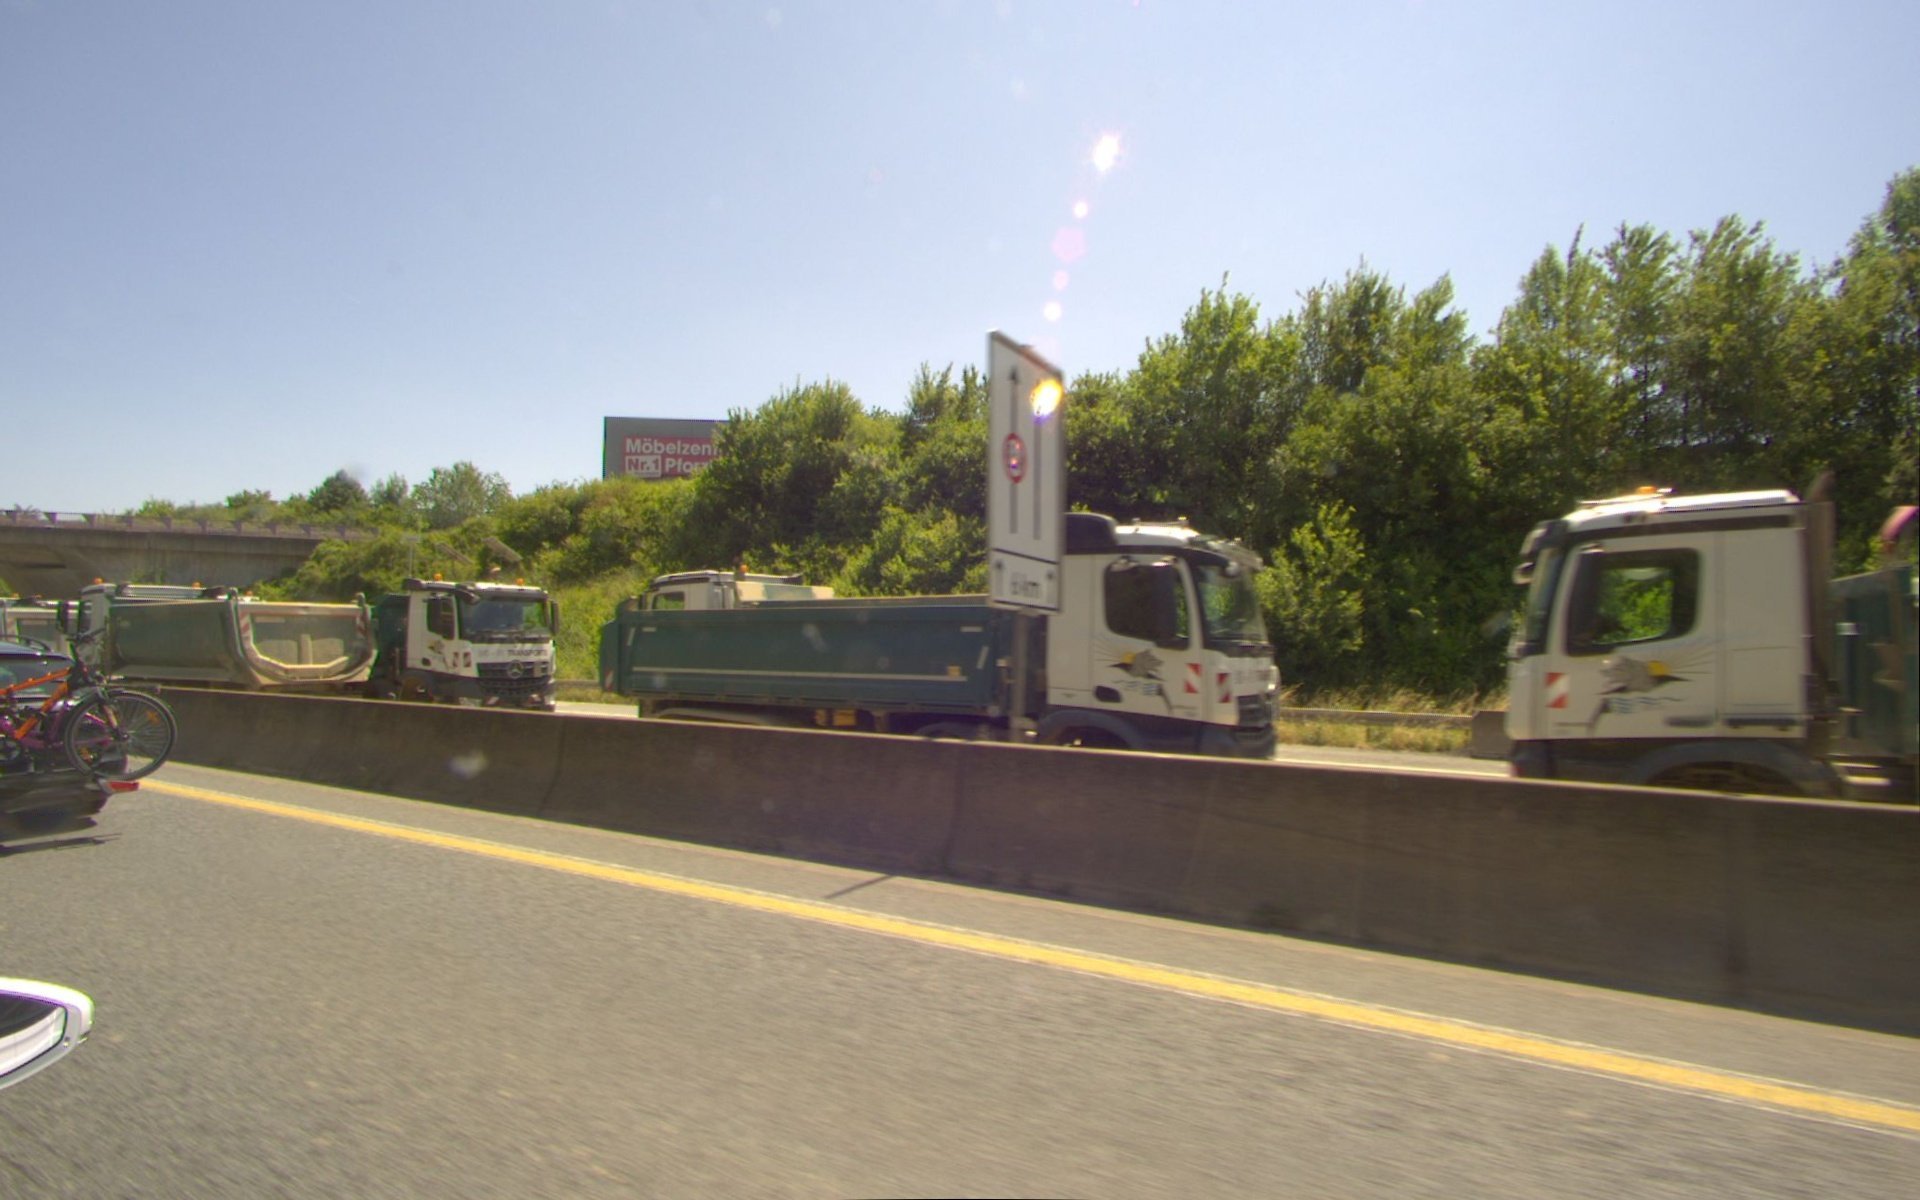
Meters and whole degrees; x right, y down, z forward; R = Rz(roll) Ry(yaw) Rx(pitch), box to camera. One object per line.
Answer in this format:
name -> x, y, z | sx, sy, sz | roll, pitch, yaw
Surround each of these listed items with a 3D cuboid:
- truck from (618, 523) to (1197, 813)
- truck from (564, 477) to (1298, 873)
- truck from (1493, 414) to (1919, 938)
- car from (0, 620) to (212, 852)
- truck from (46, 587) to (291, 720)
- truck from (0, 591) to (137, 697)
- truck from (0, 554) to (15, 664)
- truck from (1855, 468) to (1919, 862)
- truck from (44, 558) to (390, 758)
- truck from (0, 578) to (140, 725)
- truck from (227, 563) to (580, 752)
truck -> -1.226, 0.946, 16.098 | 9.463, 3.602, 2.683 | -1, -2, 32
truck -> -0.864, 0.781, 12.682 | 9.463, 3.602, 2.535 | -1, -2, 32
truck -> 8.736, 0.528, 6.923 | 8.814, 3.555, 2.530 | -1, -2, 32
car -> -8.189, 0.945, 8.032 | 4.877, 1.509, 1.896 | -1, -3, 32
truck -> -23.470, 1.477, 29.476 | 9.466, 3.421, 2.683 | -1, -2, 33
truck -> -33.183, 1.531, 35.812 | 9.460, 3.421, 2.684 | -1, -2, 31
truck -> -35.932, 0.321, 34.334 | 9.187, 3.602, 2.684 | -1, -2, 31
truck -> 12.639, 0.569, 7.640 | 8.258, 3.555, 2.684 | -1, -2, 32
truck -> -16.321, 1.153, 21.693 | 9.463, 3.602, 2.683 | -1, -2, 32
truck -> -26.698, 1.373, 28.291 | 9.272, 3.602, 2.683 | -1, -2, 32
truck -> -12.851, 1.195, 22.717 | 9.463, 3.602, 2.684 | -1, -2, 32
